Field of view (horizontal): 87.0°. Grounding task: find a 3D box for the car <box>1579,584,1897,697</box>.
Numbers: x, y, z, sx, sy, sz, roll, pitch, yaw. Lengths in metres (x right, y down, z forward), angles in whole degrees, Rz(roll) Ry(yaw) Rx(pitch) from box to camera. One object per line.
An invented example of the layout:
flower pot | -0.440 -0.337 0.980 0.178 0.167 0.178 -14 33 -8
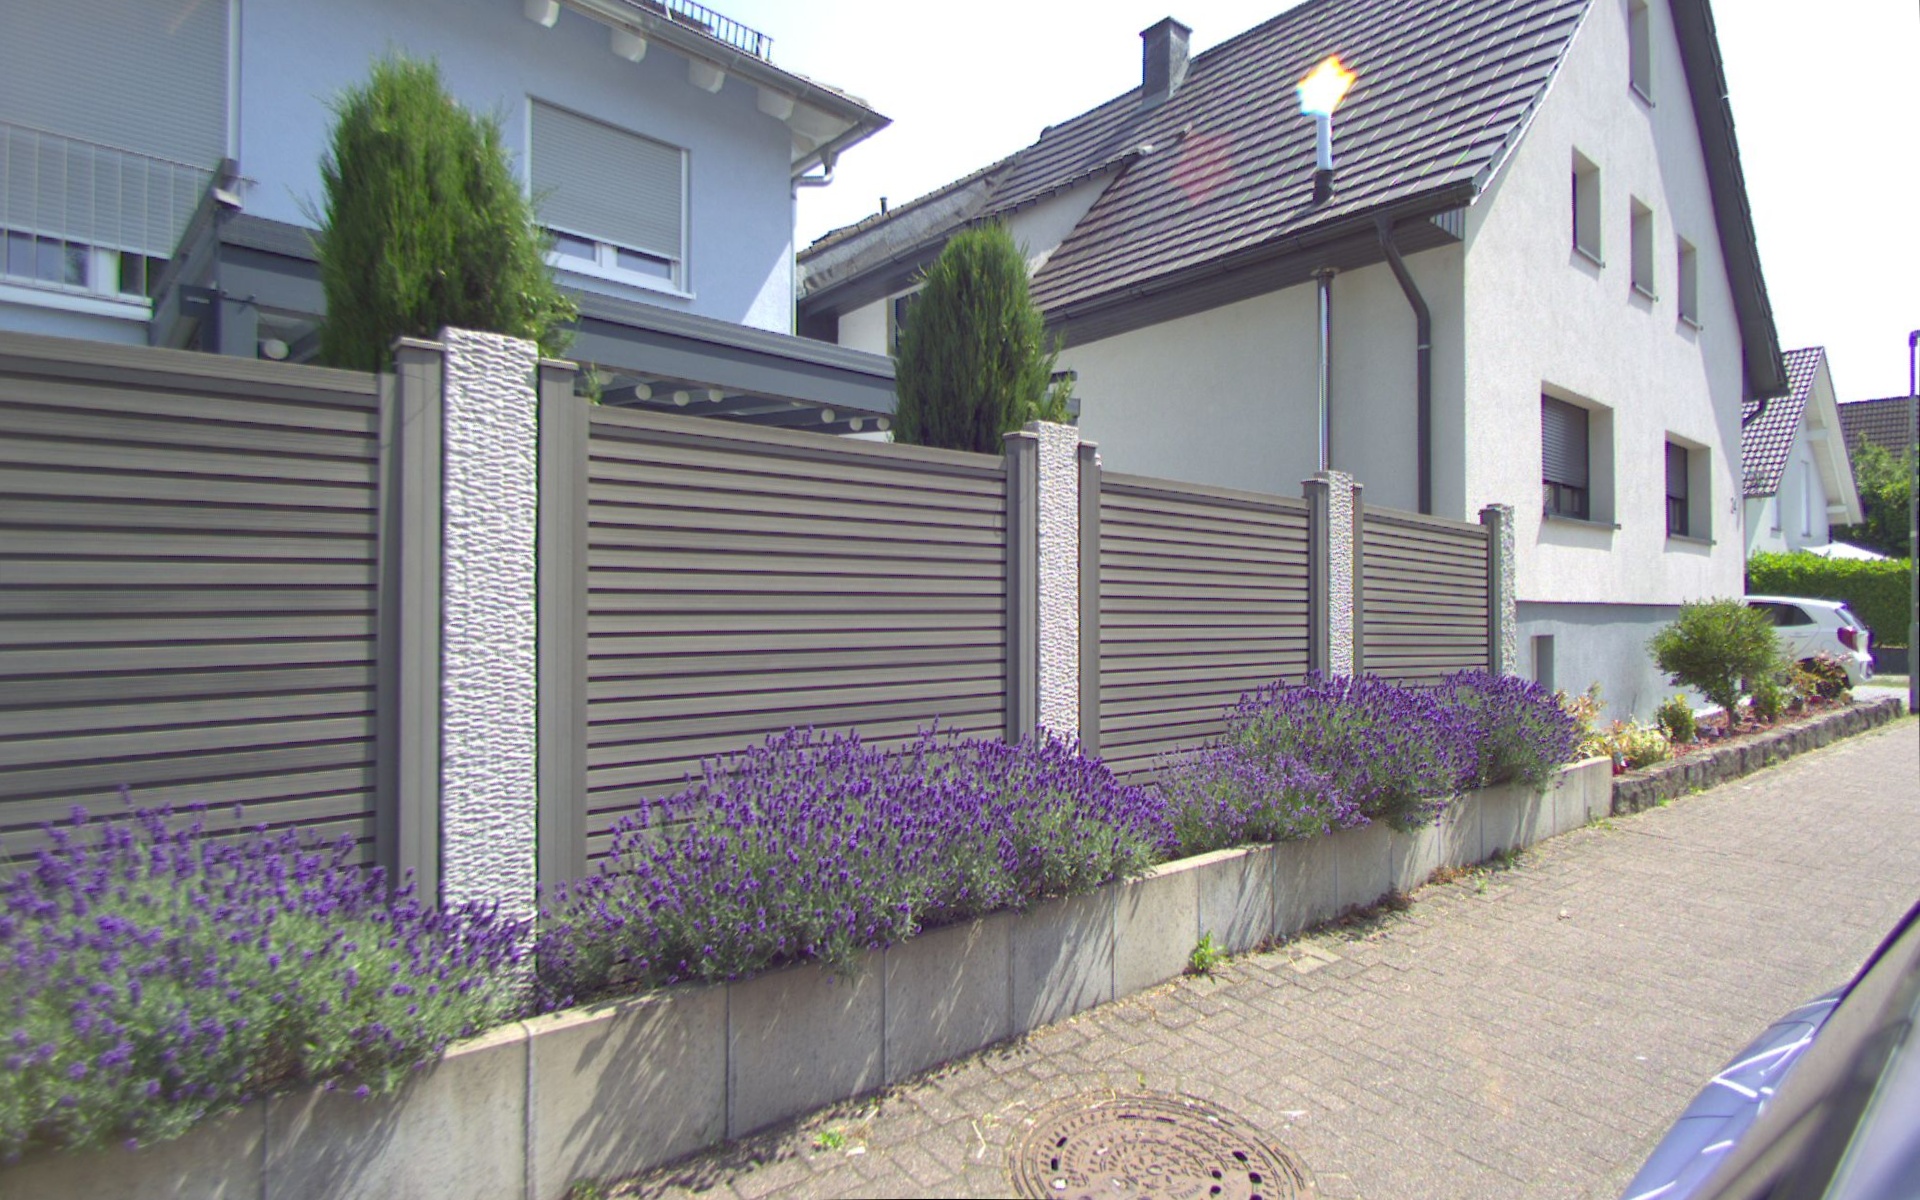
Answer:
car | 11.967 0.549 15.719 1.735 1.493 3.663 2 0 -42
